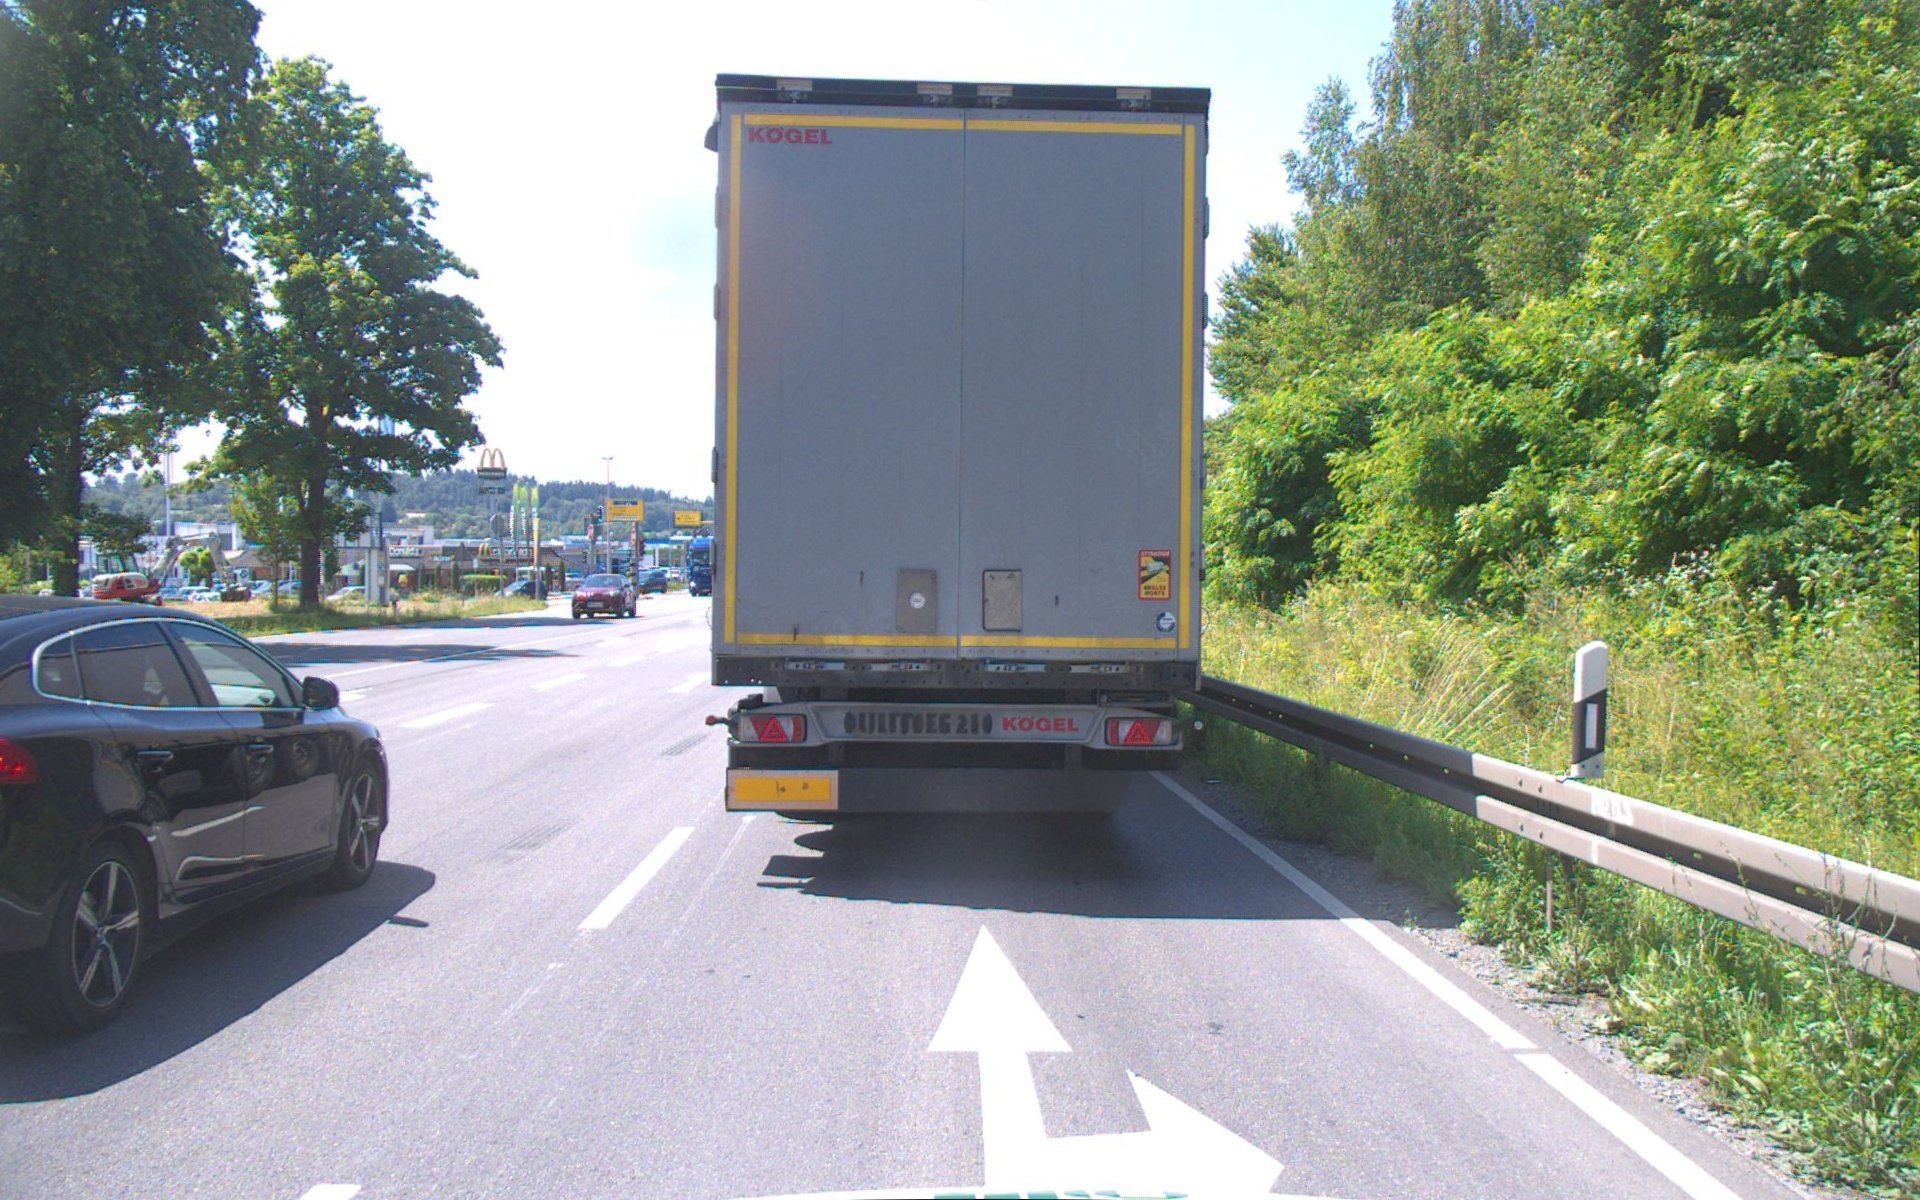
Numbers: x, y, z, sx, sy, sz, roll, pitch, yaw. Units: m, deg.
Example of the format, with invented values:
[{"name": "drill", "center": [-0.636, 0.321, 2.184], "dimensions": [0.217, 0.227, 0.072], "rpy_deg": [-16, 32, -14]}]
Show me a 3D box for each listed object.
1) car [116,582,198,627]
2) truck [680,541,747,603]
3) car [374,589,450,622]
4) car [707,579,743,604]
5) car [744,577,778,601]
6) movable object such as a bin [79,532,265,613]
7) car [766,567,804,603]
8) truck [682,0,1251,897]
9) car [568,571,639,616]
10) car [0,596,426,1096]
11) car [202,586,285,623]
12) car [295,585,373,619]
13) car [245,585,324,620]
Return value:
[{"name": "car", "center": [-37.585, 0.193, 77.423], "dimensions": [3.925, 2.049, 1.990], "rpy_deg": [1, 0, 39]}, {"name": "truck", "center": [-17.938, -2.013, 121.434], "dimensions": [2.908, 4.249, 16.569], "rpy_deg": [0, 1, -2]}, {"name": "car", "center": [-28.401, 0.287, 85.710], "dimensions": [3.920, 1.646, 1.833], "rpy_deg": [1, 1, 36]}, {"name": "car", "center": [-13.917, -0.480, 98.199], "dimensions": [1.731, 1.410, 3.998], "rpy_deg": [1, 0, -3]}, {"name": "car", "center": [-13.224, -0.715, 109.983], "dimensions": [1.684, 1.541, 3.857], "rpy_deg": [1, 0, 1]}, {"name": "movable object such as a bin", "center": [-34.384, -1.184, 72.356], "dimensions": [2.994, 3.356, 6.761], "rpy_deg": [1, 1, 38]}, {"name": "car", "center": [-10.564, -0.905, 99.898], "dimensions": [1.953, 2.049, 3.999], "rpy_deg": [1, 0, -1]}, {"name": "truck", "center": [-0.077, -0.900, 16.463], "dimensions": [2.700, 4.720, 16.651], "rpy_deg": [1, 0, -1]}, {"name": "car", "center": [-12.748, -0.256, 59.358], "dimensions": [1.865, 1.535, 3.762], "rpy_deg": [1, 1, -3]}, {"name": "car", "center": [-3.624, 0.707, 6.659], "dimensions": [1.652, 1.423, 4.401], "rpy_deg": [0, 0, -2]}, {"name": "car", "center": [-34.727, 0.195, 80.110], "dimensions": [3.920, 1.680, 1.993], "rpy_deg": [1, 1, 36]}, {"name": "car", "center": [-31.873, 0.086, 84.203], "dimensions": [3.920, 1.646, 1.833], "rpy_deg": [1, 1, 36]}, {"name": "car", "center": [-33.458, 0.105, 81.942], "dimensions": [3.920, 1.646, 1.833], "rpy_deg": [1, 1, 36]}]
